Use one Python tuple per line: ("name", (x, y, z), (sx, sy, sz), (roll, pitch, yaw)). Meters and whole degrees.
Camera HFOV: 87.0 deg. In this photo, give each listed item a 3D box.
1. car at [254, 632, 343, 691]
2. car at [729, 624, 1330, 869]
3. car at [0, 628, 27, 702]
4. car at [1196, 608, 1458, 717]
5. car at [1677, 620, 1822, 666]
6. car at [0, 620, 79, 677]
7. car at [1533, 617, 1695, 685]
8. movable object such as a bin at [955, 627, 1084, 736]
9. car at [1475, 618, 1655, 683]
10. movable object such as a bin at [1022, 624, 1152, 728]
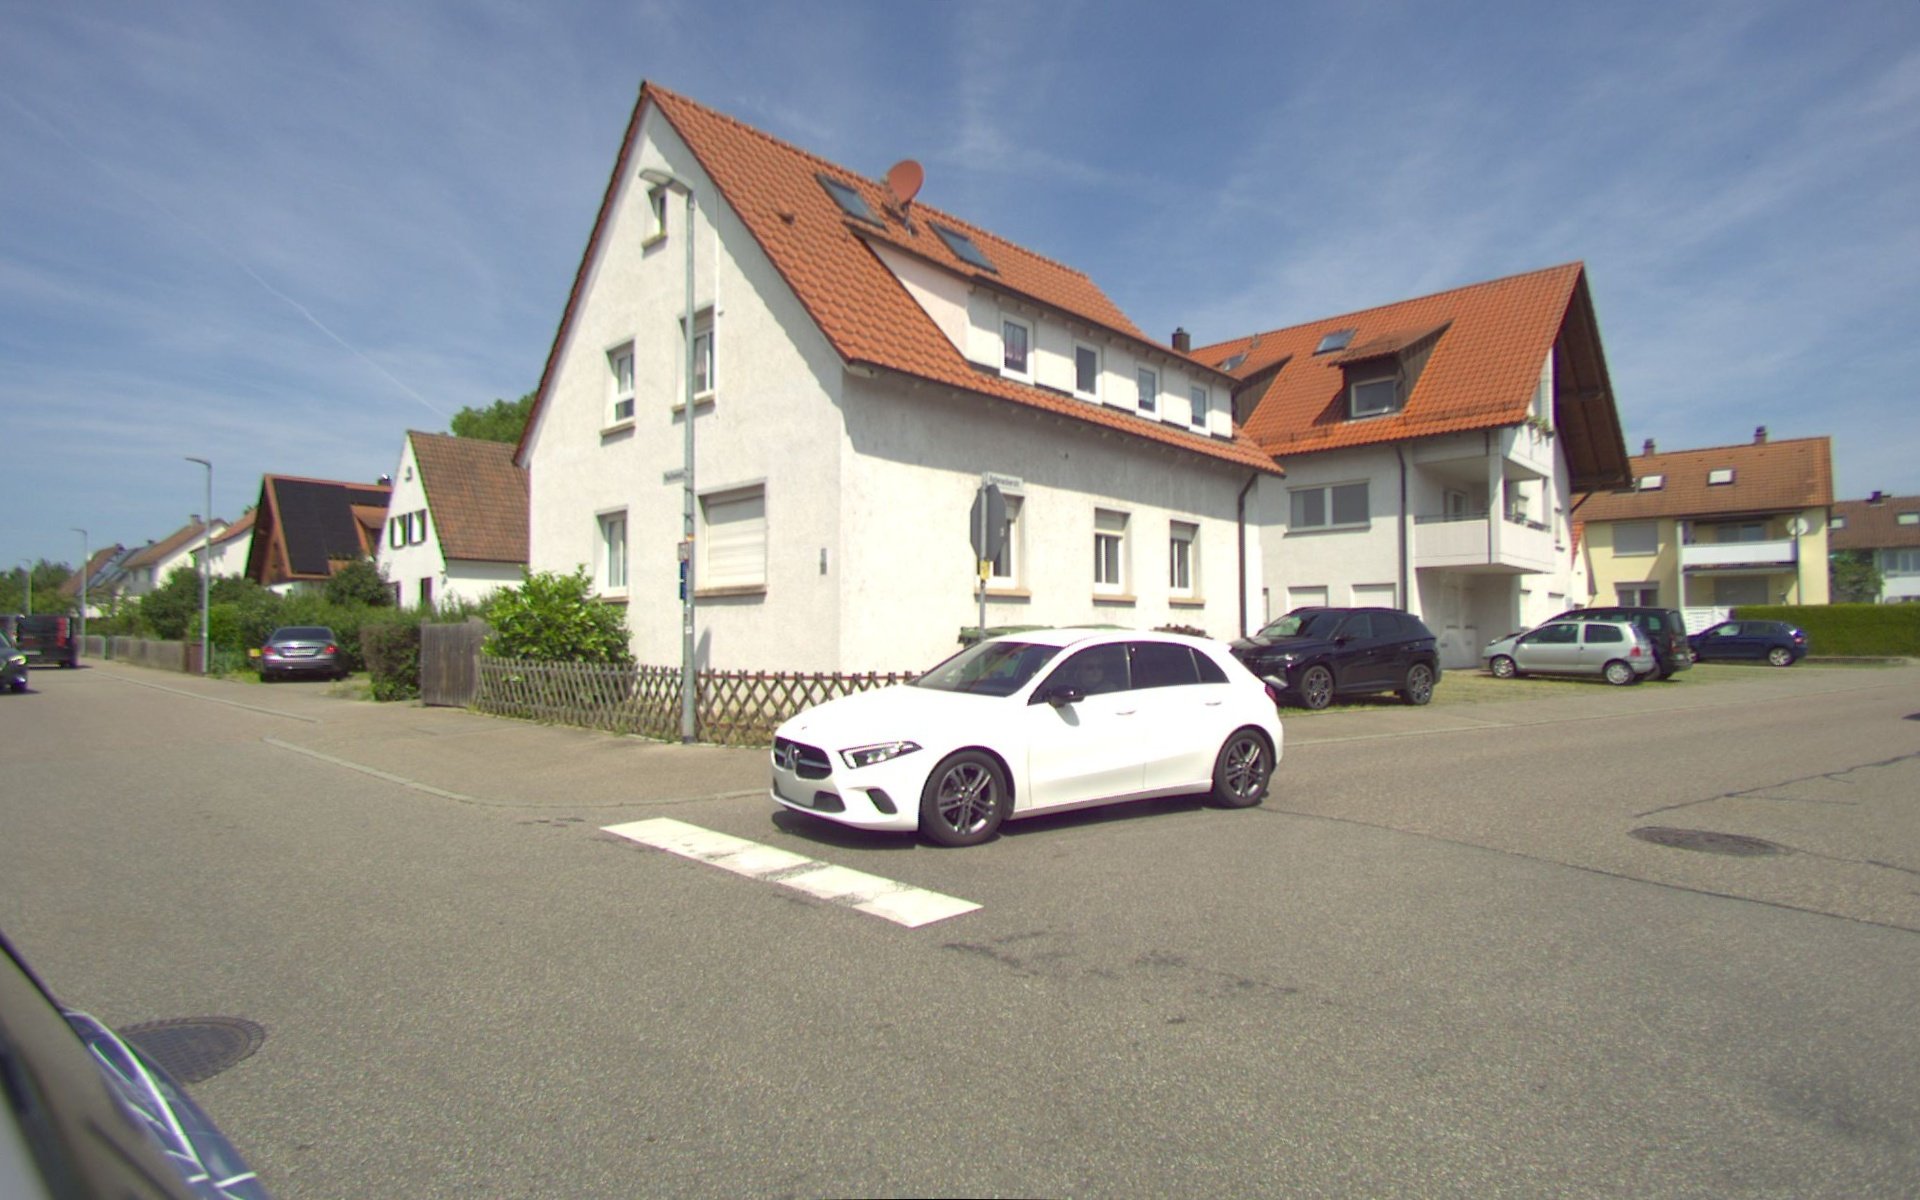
("car", (-18.088, 1.612, 27.824), (1.801, 1.443, 4.577), (0, -2, -30))
("car", (0.648, 0.911, 7.935), (4.418, 1.408, 1.935), (1, -2, -33))
("car", (-23.411, 1.499, 23.619), (4.319, 1.660, 1.815), (-2, -2, 39))
("car", (6.162, 0.961, 16.893), (4.204, 1.559, 1.796), (1, 1, -30))
("car", (25.861, 1.390, 33.197), (3.661, 1.400, 1.445), (-2, -1, 41))
("car", (-34.237, 1.764, 37.535), (4.697, 1.967, 1.946), (-2, -2, 44))
("car", (15.936, 1.192, 24.762), (1.211, 1.536, 3.131), (1, -1, -43))
("movable object such as a bin", (0.780, 1.026, 13.364), (1.246, 1.323, 1.168), (0, -1, -38))
("car", (13.969, 1.150, 23.477), (3.379, 1.410, 1.310), (-2, -3, 44))
("movable object such as a bin", (1.780, 1.025, 14.265), (1.246, 1.346, 1.315), (0, -1, -38))
